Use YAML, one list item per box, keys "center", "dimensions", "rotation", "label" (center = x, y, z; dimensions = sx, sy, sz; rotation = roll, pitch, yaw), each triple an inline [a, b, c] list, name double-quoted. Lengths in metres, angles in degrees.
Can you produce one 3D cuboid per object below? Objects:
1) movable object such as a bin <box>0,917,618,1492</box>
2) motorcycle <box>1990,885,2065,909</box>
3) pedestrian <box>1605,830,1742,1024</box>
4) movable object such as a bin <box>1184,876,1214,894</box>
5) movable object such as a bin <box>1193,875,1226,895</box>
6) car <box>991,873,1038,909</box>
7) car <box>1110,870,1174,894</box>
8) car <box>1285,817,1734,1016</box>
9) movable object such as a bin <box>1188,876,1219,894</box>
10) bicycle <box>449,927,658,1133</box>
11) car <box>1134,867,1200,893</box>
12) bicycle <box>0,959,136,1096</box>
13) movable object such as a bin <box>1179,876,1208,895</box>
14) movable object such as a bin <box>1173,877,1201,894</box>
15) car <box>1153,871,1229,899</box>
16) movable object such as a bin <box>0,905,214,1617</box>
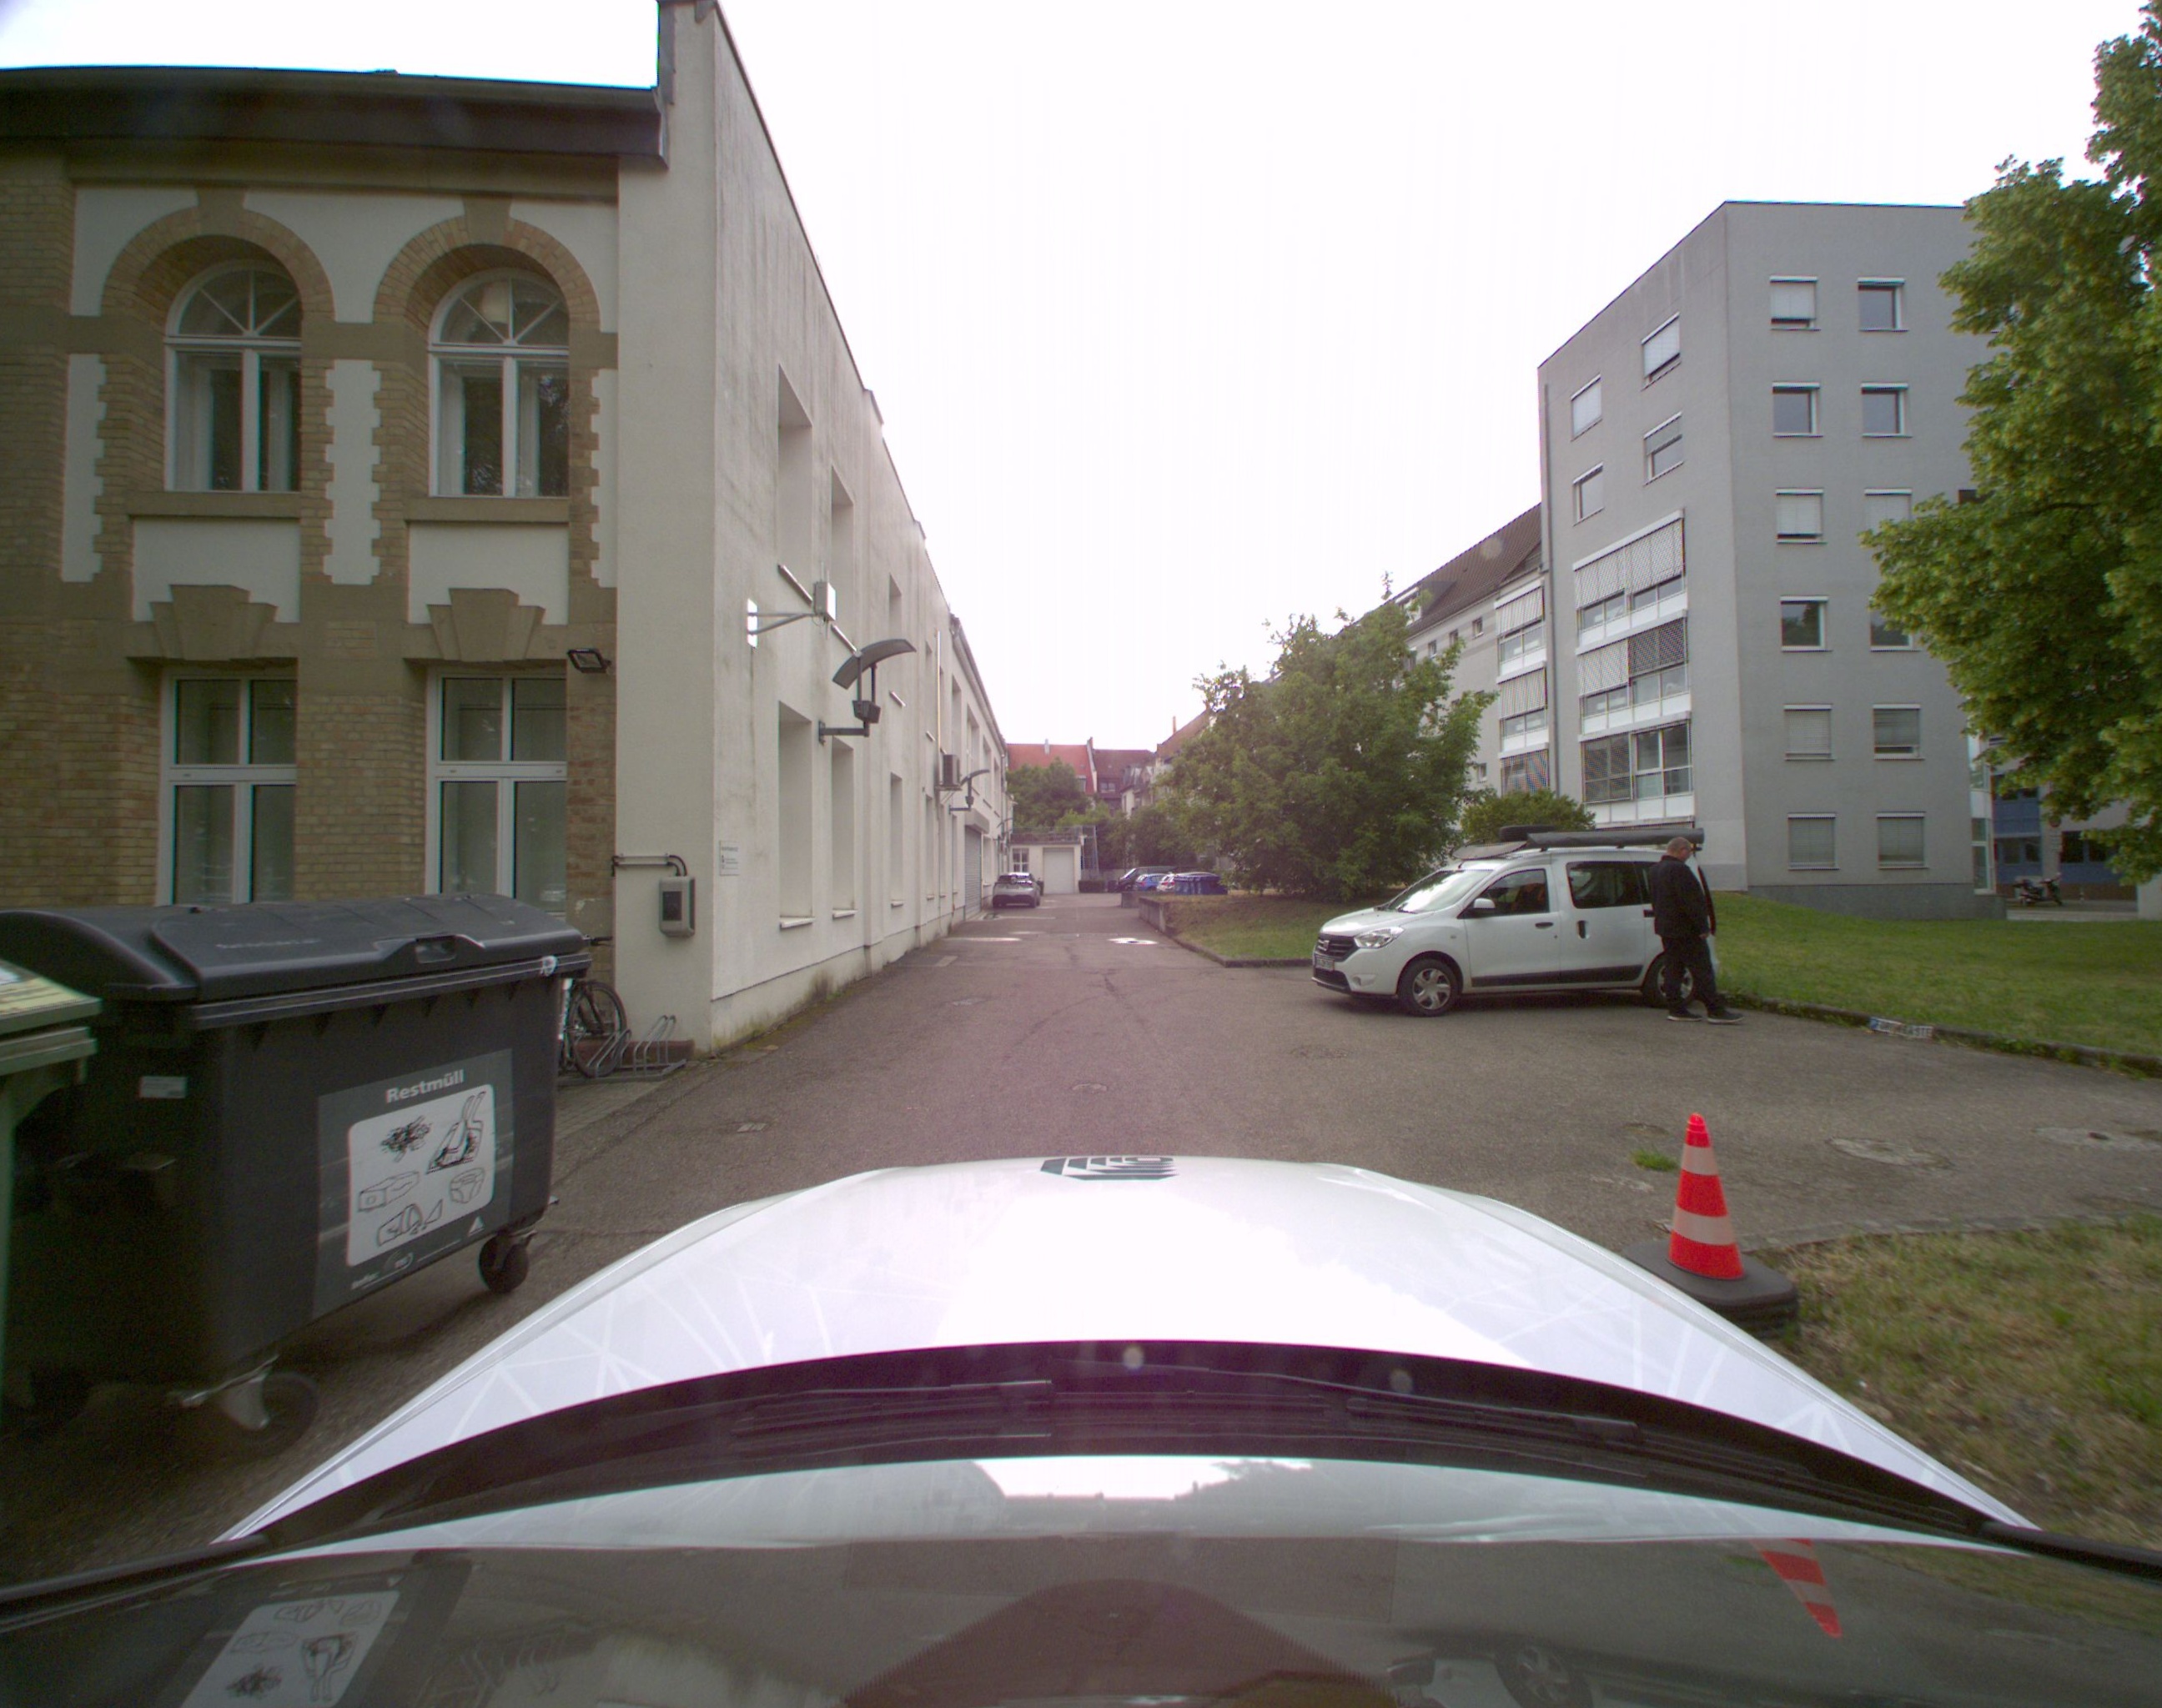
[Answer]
- center: [-2.492, 0.884, 2.679]
  dimensions: [1.046, 1.265, 1.357]
  rotation: [-1, -1, 9]
  label: "movable object such as a bin"
- center: [39.429, 1.780, 33.930]
  dimensions: [3.193, 0.881, 0.956]
  rotation: [0, -1, -20]
  label: "motorcycle"
- center: [5.831, 0.695, 8.055]
  dimensions: [0.753, 1.809, 0.696]
  rotation: [-1, -3, -7]
  label: "pedestrian"
- center: [4.377, 1.150, 30.211]
  dimensions: [0.962, 0.637, 0.910]
  rotation: [0, -2, -1]
  label: "movable object such as a bin"
- center: [4.358, 1.055, 27.718]
  dimensions: [0.962, 0.637, 0.910]
  rotation: [0, -2, -1]
  label: "movable object such as a bin"
- center: [-2.864, 1.614, 35.866]
  dimensions: [1.843, 1.508, 3.996]
  rotation: [0, -2, -2]
  label: "car"
- center: [4.377, 1.987, 58.385]
  dimensions: [4.187, 1.574, 1.991]
  rotation: [0, -1, -14]
  label: "car"
- center: [4.798, 0.655, 9.467]
  dimensions: [4.334, 2.014, 1.849]
  rotation: [0, -2, -8]
  label: "car"
- center: [4.349, 1.103, 28.966]
  dimensions: [0.962, 0.637, 0.910]
  rotation: [0, -2, -1]
  label: "movable object such as a bin"
- center: [-3.571, 1.111, 5.698]
  dimensions: [0.394, 1.065, 1.825]
  rotation: [-1, -1, -5]
  label: "bicycle"
- center: [5.541, 1.659, 52.675]
  dimensions: [3.992, 1.574, 1.578]
  rotation: [0, -1, -14]
  label: "car"
- center: [-7.443, 1.190, 5.137]
  dimensions: [0.614, 0.813, 1.946]
  rotation: [-1, -1, 4]
  label: "bicycle"
- center: [4.312, 1.210, 31.206]
  dimensions: [0.962, 0.679, 0.810]
  rotation: [0, -2, -2]
  label: "movable object such as a bin"
- center: [4.161, 1.247, 32.130]
  dimensions: [0.962, 0.679, 0.870]
  rotation: [0, -2, -1]
  label: "movable object such as a bin"
- center: [6.425, 1.798, 47.692]
  dimensions: [3.992, 1.574, 1.991]
  rotation: [0, -1, -13]
  label: "car"
- center: [-2.422, 0.743, 1.132]
  dimensions: [1.053, 1.265, 1.348]
  rotation: [0, -1, -12]
  label: "movable object such as a bin"
